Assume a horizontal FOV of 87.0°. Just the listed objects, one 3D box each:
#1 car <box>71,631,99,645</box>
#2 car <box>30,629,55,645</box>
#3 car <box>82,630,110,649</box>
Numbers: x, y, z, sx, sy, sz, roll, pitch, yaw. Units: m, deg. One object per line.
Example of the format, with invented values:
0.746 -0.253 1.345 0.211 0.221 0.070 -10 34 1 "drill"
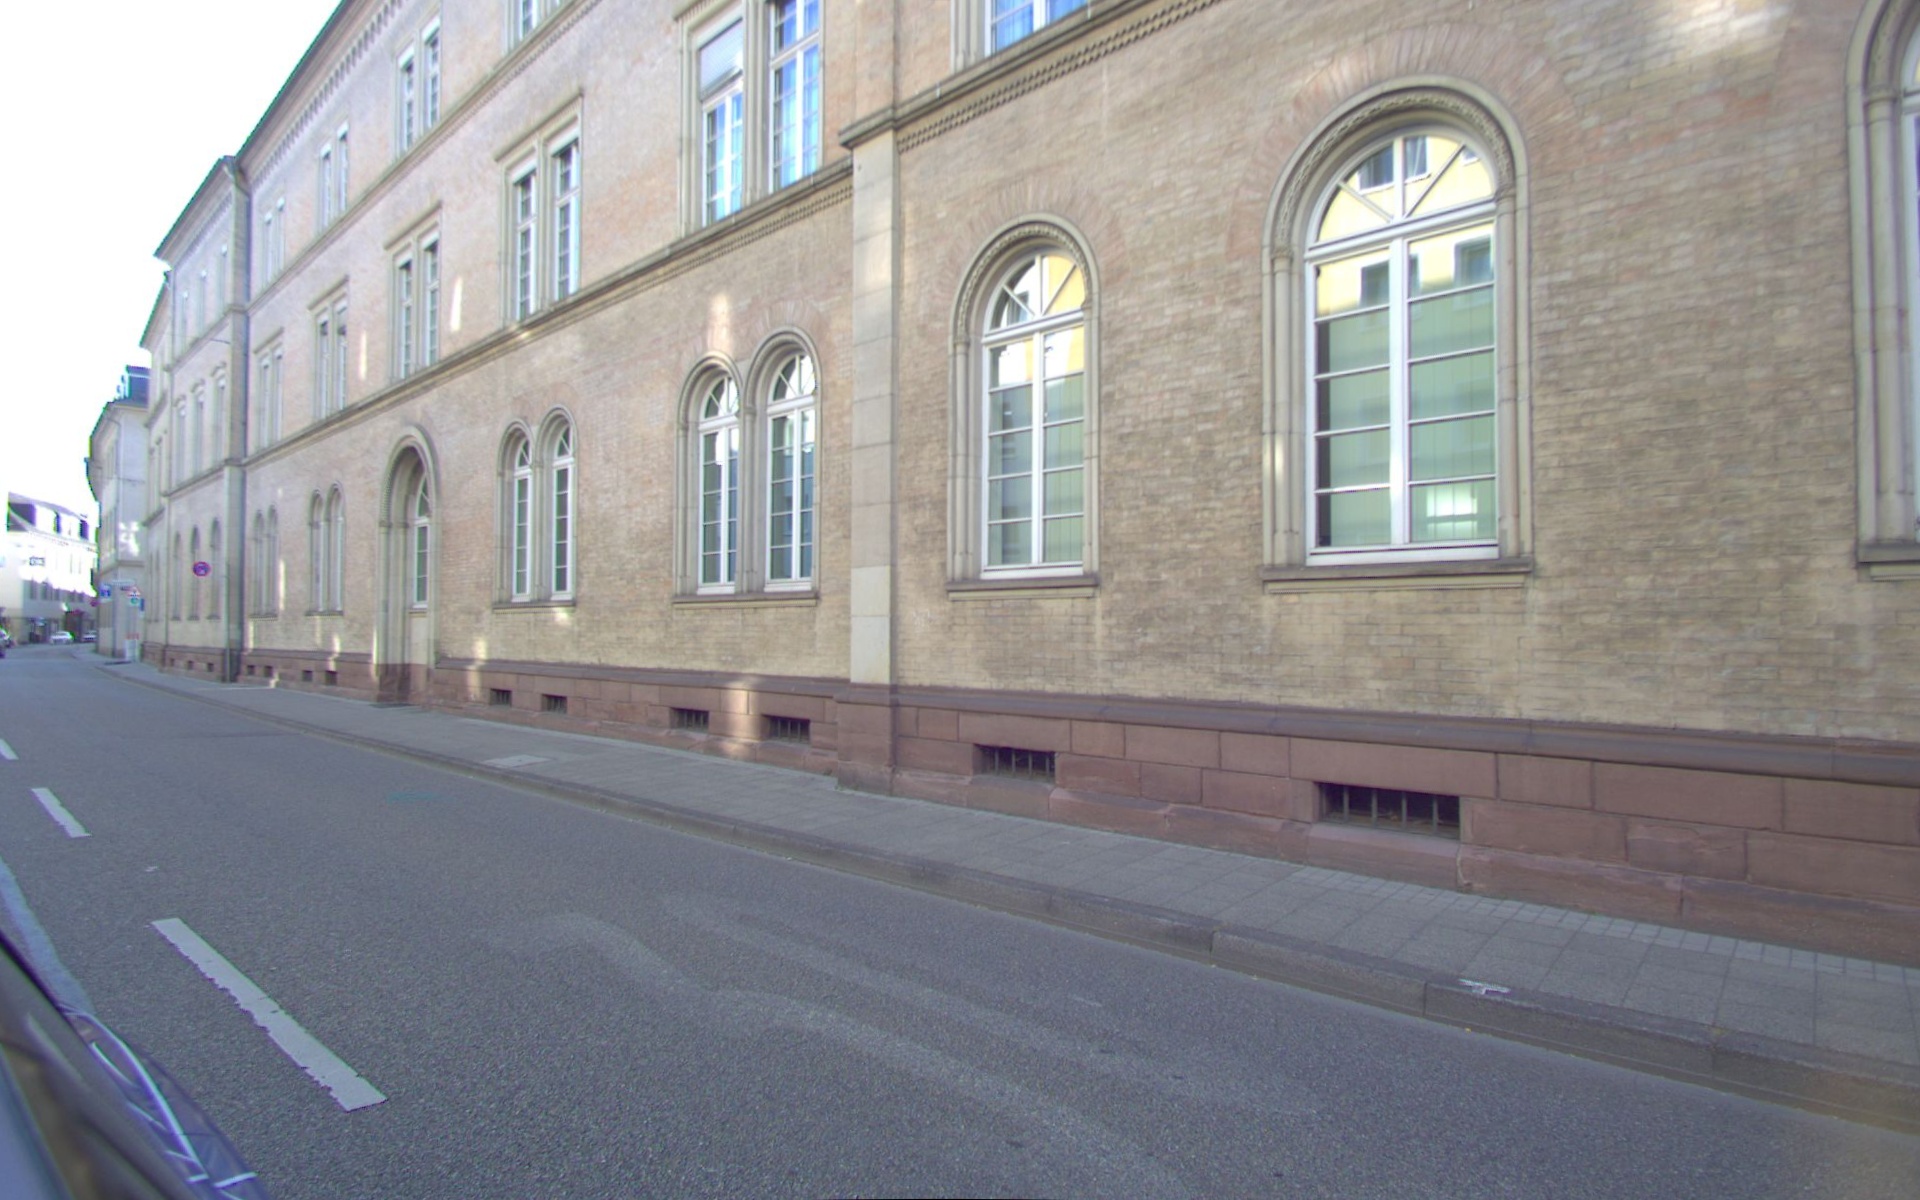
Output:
-109.402 4.743 126.512 1.896 1.737 4.242 1 -2 -31 "car"
-102.428 4.085 113.020 1.511 1.737 3.749 1 -2 -34 "car"
-80.108 3.659 93.838 1.638 1.737 3.748 1 -2 -36 "car"
